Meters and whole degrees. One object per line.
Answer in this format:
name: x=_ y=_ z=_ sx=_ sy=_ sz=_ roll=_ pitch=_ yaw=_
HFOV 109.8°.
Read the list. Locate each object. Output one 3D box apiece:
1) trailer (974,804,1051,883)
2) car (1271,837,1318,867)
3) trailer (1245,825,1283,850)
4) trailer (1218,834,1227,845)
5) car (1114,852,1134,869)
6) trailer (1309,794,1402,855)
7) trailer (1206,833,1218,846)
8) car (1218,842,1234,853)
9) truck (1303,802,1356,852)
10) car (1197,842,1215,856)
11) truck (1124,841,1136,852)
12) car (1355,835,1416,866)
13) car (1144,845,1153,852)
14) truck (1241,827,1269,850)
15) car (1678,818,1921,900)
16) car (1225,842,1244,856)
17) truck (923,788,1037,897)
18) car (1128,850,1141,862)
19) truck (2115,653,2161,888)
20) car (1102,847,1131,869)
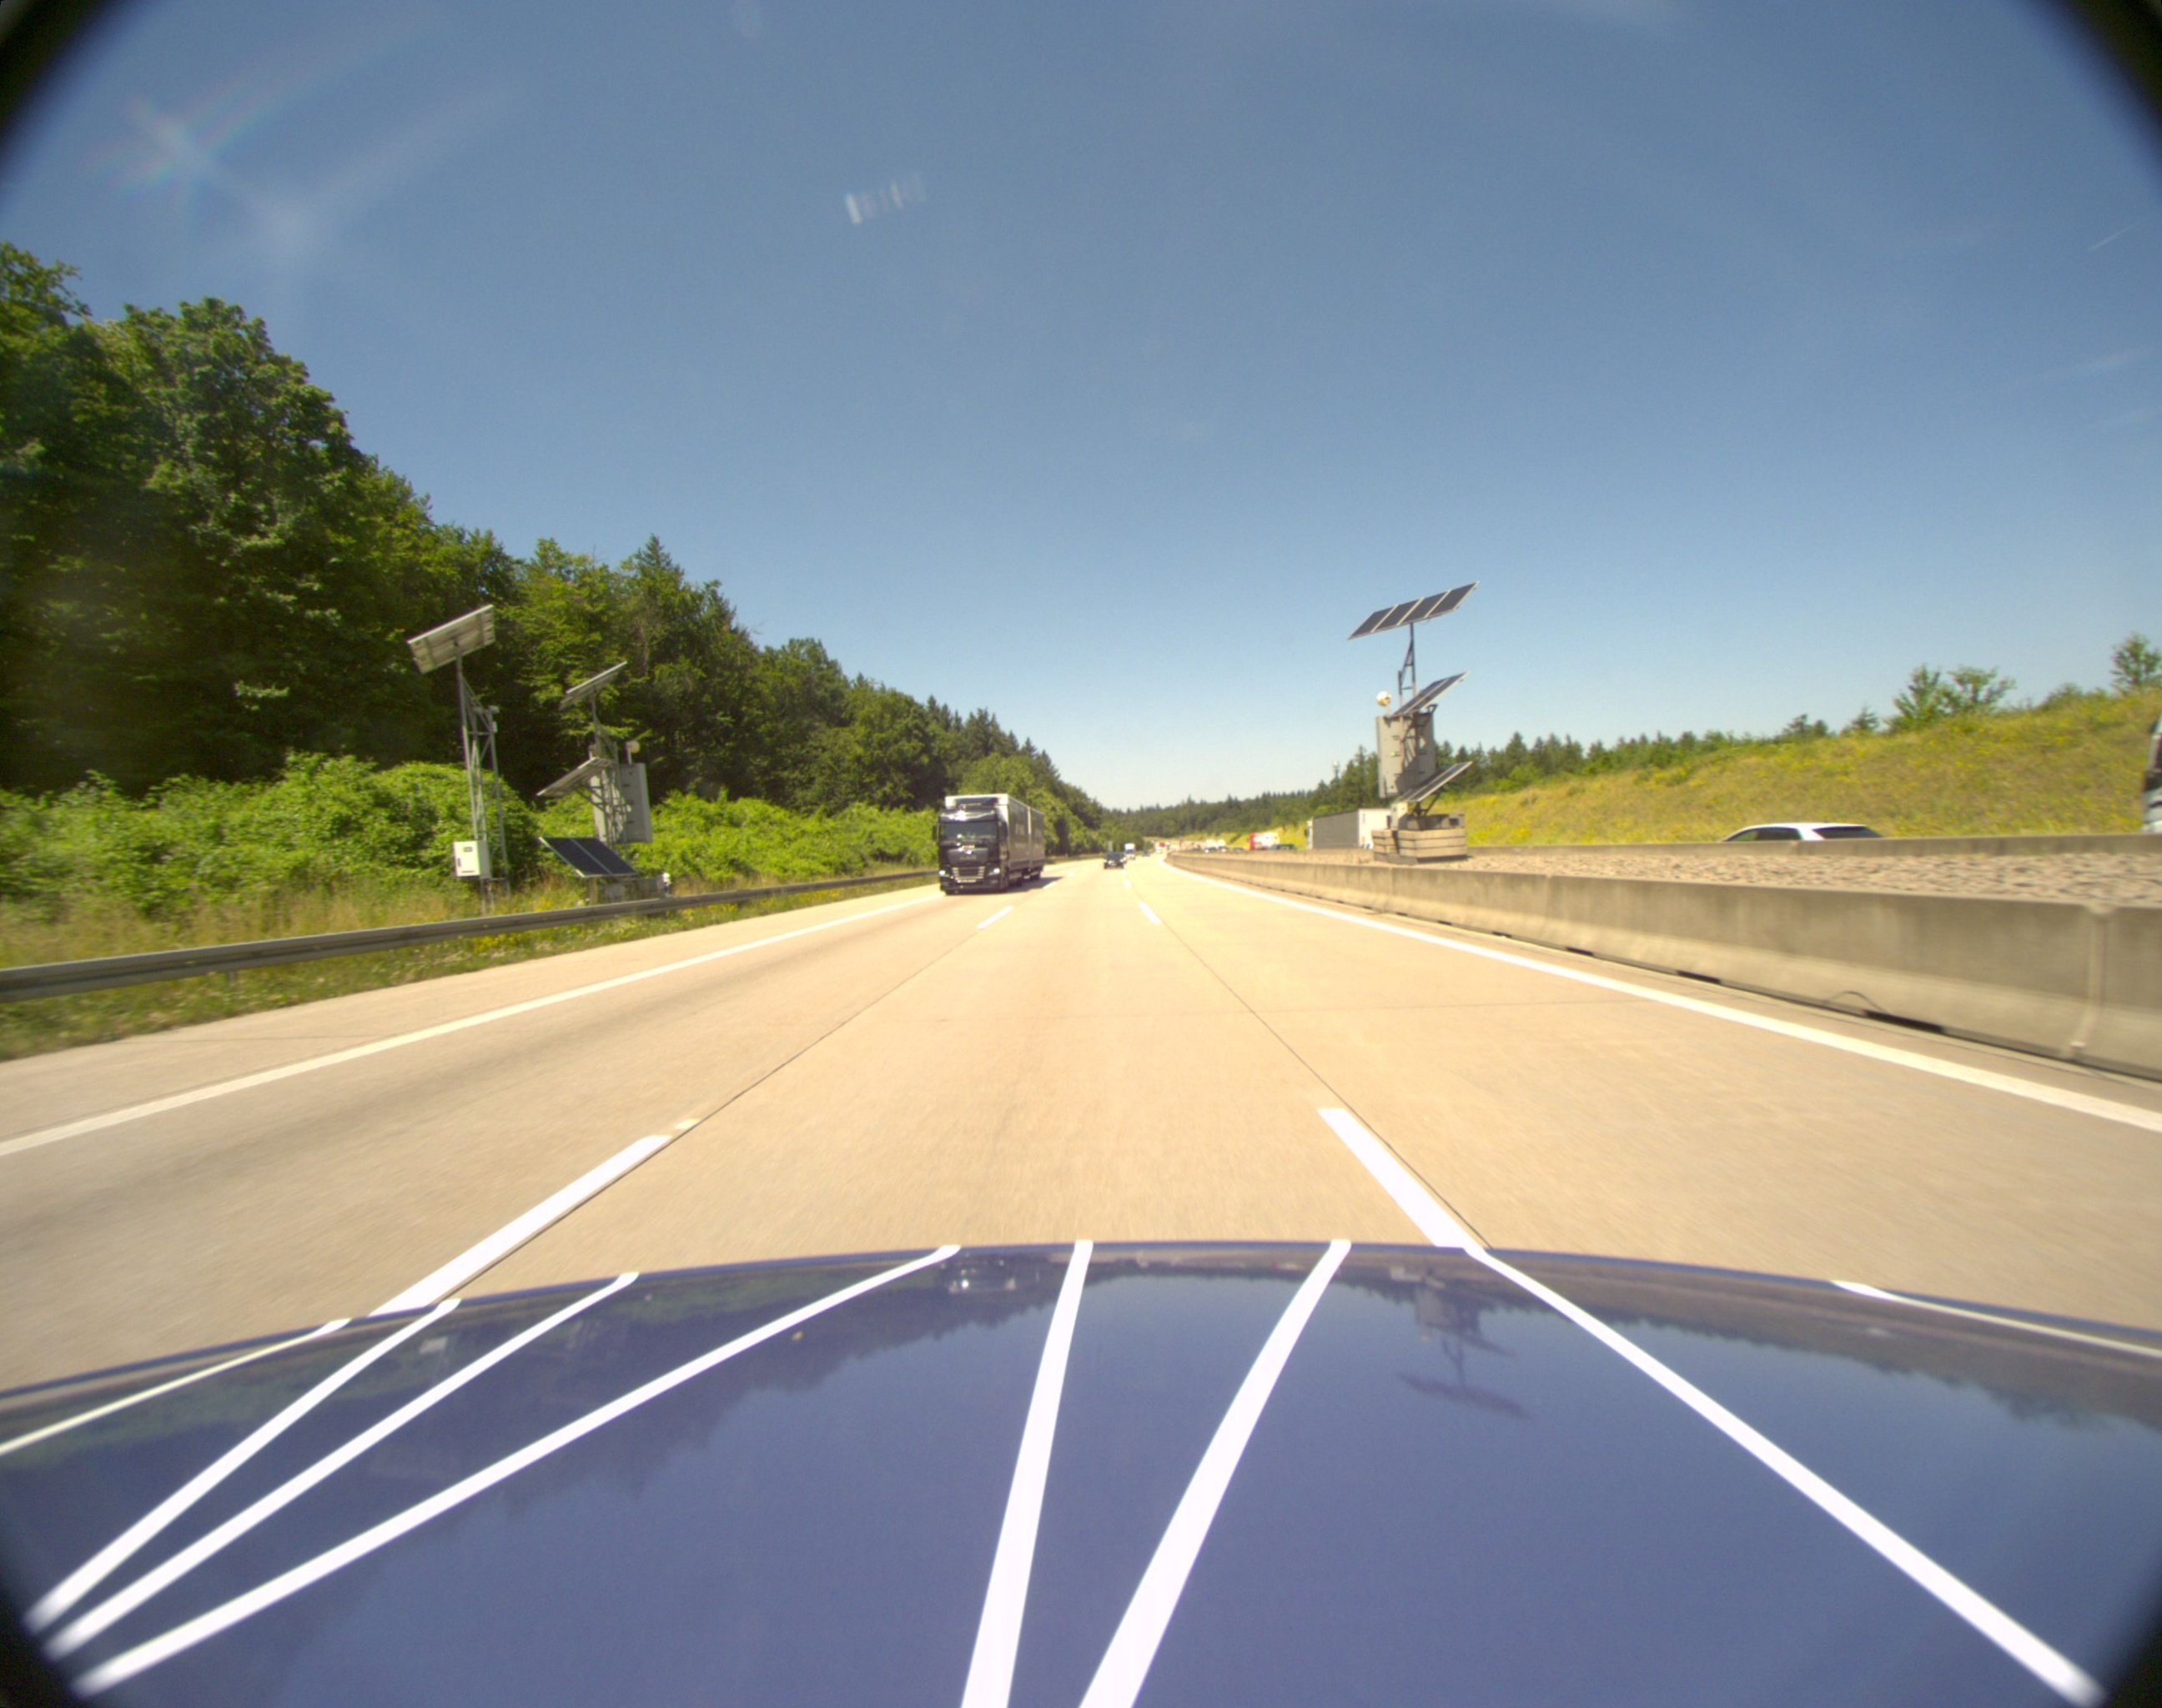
trailer: x=-3.761 y=-0.568 z=44.025 sx=3.142 sy=3.993 sz=9.088 roll=-2 pitch=1 yaw=2
car: x=14.175 y=-0.144 z=50.665 sx=1.998 sy=1.904 sz=4.000 roll=-2 pitch=1 yaw=1
trailer: x=26.076 y=-2.279 z=108.807 sx=2.940 sy=3.196 sz=11.832 roll=-4 pitch=1 yaw=3
trailer: x=49.174 y=-5.106 z=264.135 sx=2.730 sy=3.393 sz=8.959 roll=-4 pitch=1 yaw=8
car: x=4.897 y=0.691 z=86.245 sx=1.998 sy=1.694 sz=4.401 roll=-5 pitch=1 yaw=6
trailer: x=22.006 y=-2.249 z=62.100 sx=2.940 sy=4.145 sz=14.389 roll=-4 pitch=1 yaw=3
trailer: x=43.185 y=-4.862 z=250.774 sx=3.167 sy=3.909 sz=13.873 roll=-4 pitch=1 yaw=9
car: x=24.662 y=-1.145 z=129.322 sx=1.998 sy=1.707 sz=4.001 roll=-1 pitch=1 yaw=3
truck: x=22.422 y=-2.375 z=68.977 sx=2.940 sy=4.145 sz=5.761 roll=-4 pitch=1 yaw=3
car: x=17.737 y=-0.700 z=107.858 sx=1.998 sy=1.893 sz=4.039 roll=-2 pitch=1 yaw=3
truck: x=12.886 y=-2.006 z=199.075 sx=2.482 sy=2.779 sz=5.918 roll=-5 pitch=1 yaw=10
car: x=17.560 y=-0.190 z=44.046 sx=1.998 sy=1.674 sz=4.000 roll=-2 pitch=1 yaw=1
car: x=16.658 y=-1.287 z=187.941 sx=1.841 sy=1.547 sz=4.002 roll=-4 pitch=1 yaw=9
truck: x=26.373 y=-2.375 z=115.465 sx=2.940 sy=3.196 sz=5.905 roll=-4 pitch=1 yaw=3
car: x=16.653 y=0.084 z=17.951 sx=1.998 sy=1.674 sz=4.000 roll=-2 pitch=1 yaw=1
car: x=20.752 y=-0.672 z=102.899 sx=1.998 sy=1.761 sz=4.000 roll=-2 pitch=1 yaw=3
truck: x=-4.148 y=-0.482 z=34.188 sx=3.167 sy=3.993 sz=10.608 roll=-2 pitch=0 yaw=2
car: x=9.121 y=0.350 z=129.214 sx=1.998 sy=1.694 sz=4.401 roll=-5 pitch=1 yaw=6
truck: x=20.596 y=-1.539 z=10.872 sx=2.941 sy=4.145 sz=6.228 roll=-4 pitch=1 yaw=0
car: x=3.212 y=0.342 z=68.620 sx=1.929 sy=1.694 sz=4.402 roll=-5 pitch=1 yaw=10
